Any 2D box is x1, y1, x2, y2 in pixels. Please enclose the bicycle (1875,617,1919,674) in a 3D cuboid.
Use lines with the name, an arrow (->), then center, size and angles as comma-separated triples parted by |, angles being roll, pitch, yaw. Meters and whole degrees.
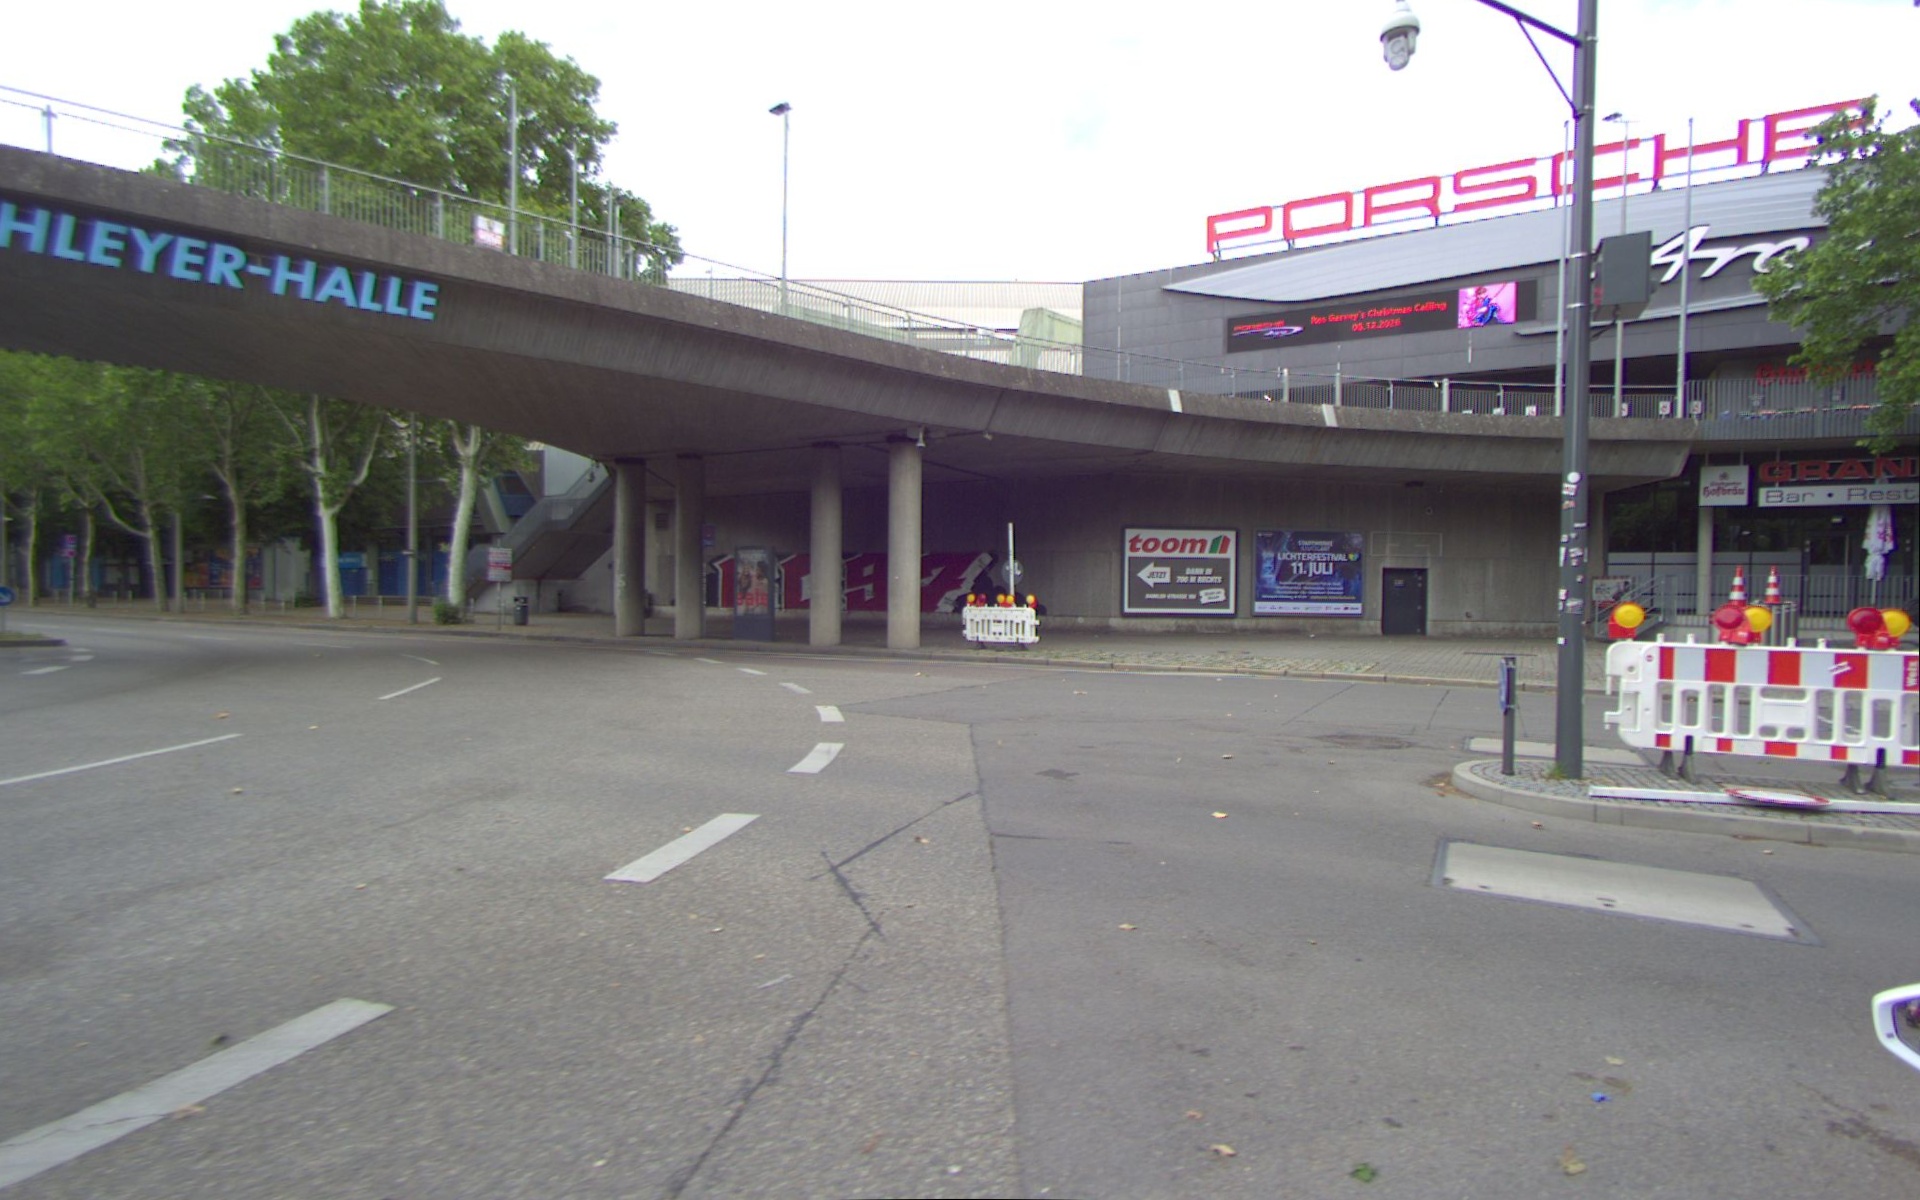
bicycle -> 18.166, 0.881, 18.733 | 1.510, 1.026, 0.516 | 3, 1, 29

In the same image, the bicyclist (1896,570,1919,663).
bicyclist -> 18.190, 0.323, 18.729 | 0.839, 1.720, 0.765 | 3, 1, 29
